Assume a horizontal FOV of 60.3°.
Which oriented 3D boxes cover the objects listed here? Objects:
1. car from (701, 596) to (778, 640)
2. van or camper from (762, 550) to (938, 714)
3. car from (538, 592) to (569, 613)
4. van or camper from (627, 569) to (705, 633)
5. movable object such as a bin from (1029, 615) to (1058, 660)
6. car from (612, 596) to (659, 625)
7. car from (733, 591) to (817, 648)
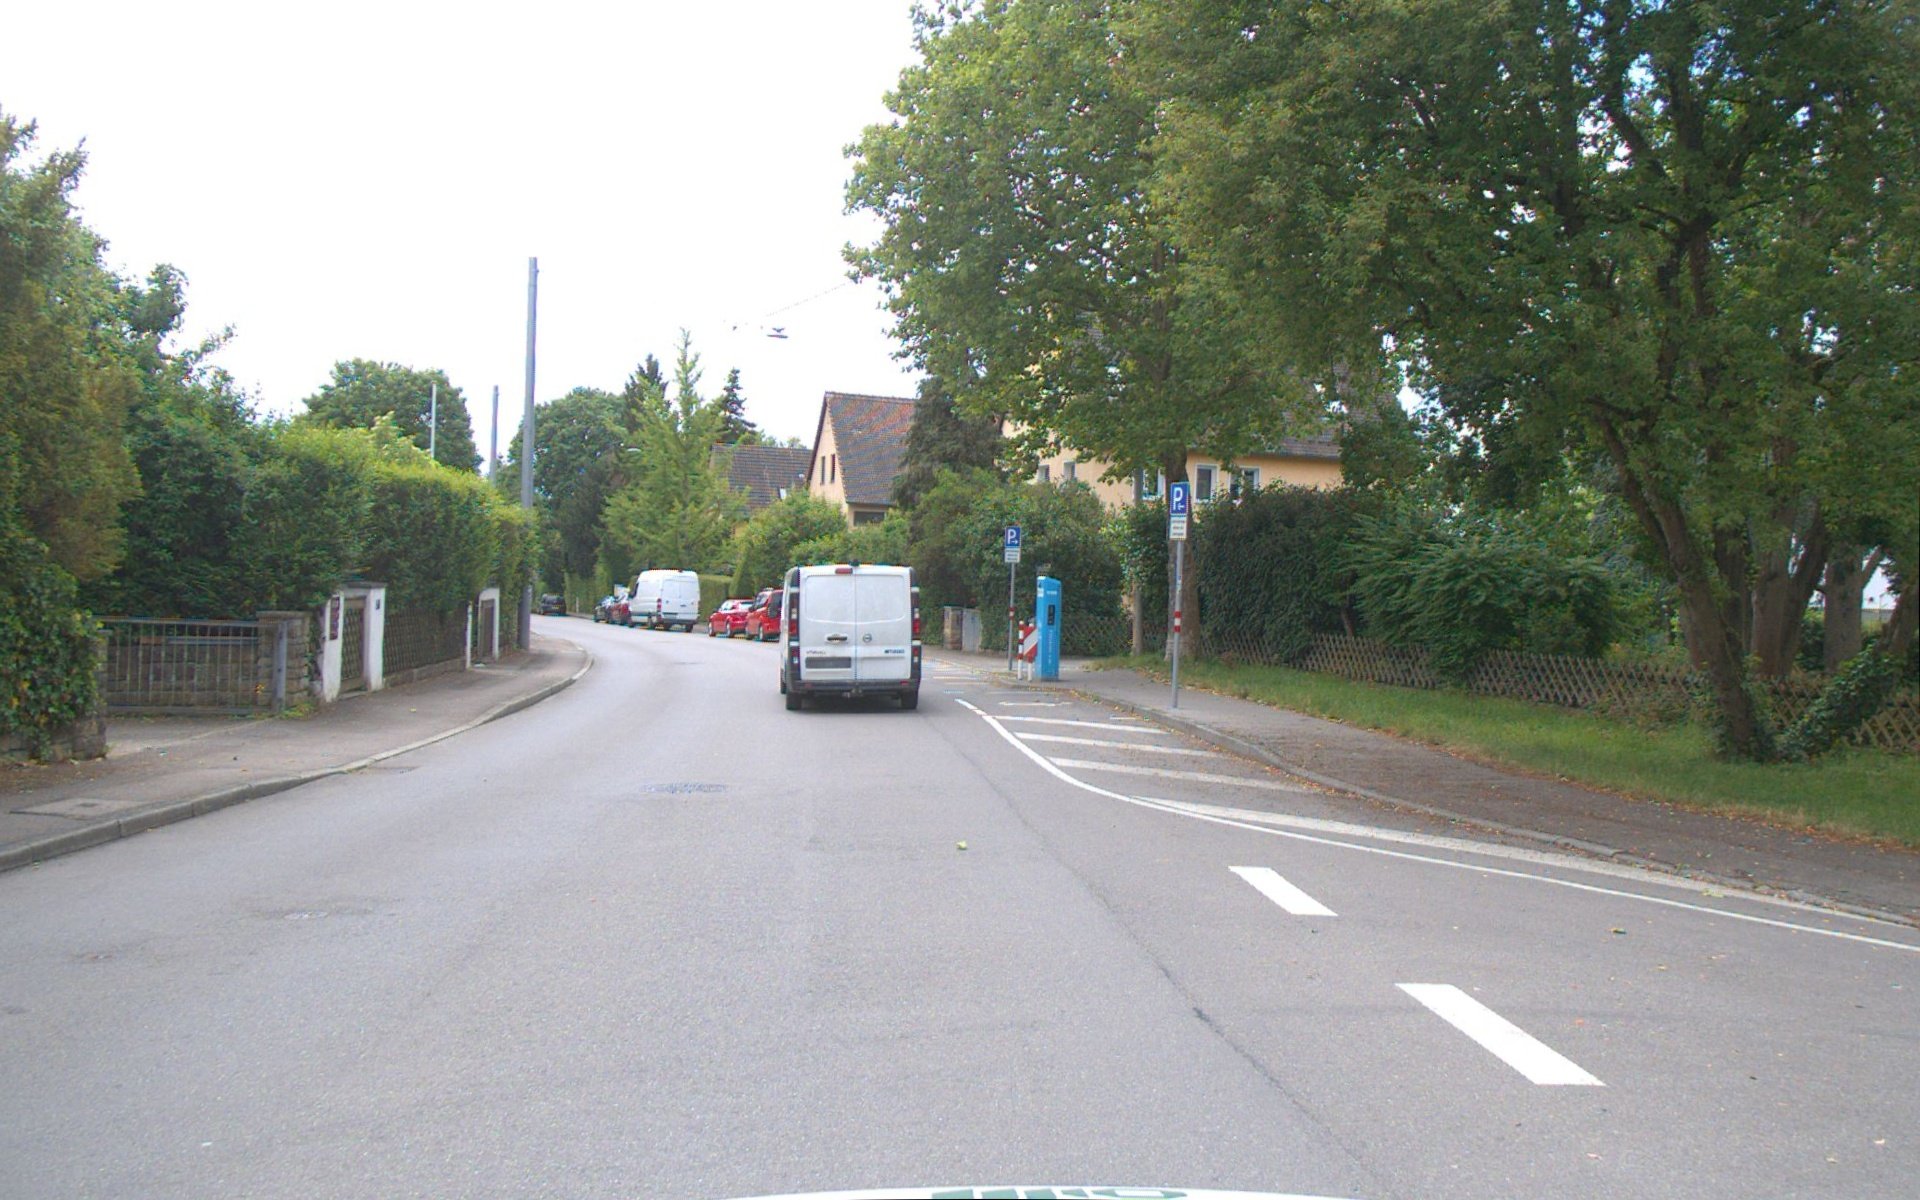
[{"bbox_3d":[-8.328,0.664,62.183,1.690,1.493,4.236,2,0,-24],"label":"car"},{"bbox_3d":[-1.715,0.355,24.062,1.890,2.048,4.817,3,1,-11],"label":"van or camper"},{"bbox_3d":[-27.732,0.162,112.747,1.510,1.327,3.205,2,0,-23],"label":"car"},{"bbox_3d":[-13.378,-0.012,74.966,2.039,2.721,6.283,2,0,-23],"label":"van or camper"},{"bbox_3d":[2.083,0.942,41.308,0.592,1.088,0.567,3,-1,-7],"label":"movable object such as a bin"},{"bbox_3d":[-16.094,0.497,81.975,1.509,1.327,4.003,2,0,-23],"label":"car"},{"bbox_3d":[-6.475,0.635,57.341,1.735,1.828,4.920,2,0,-20],"label":"car"}]
